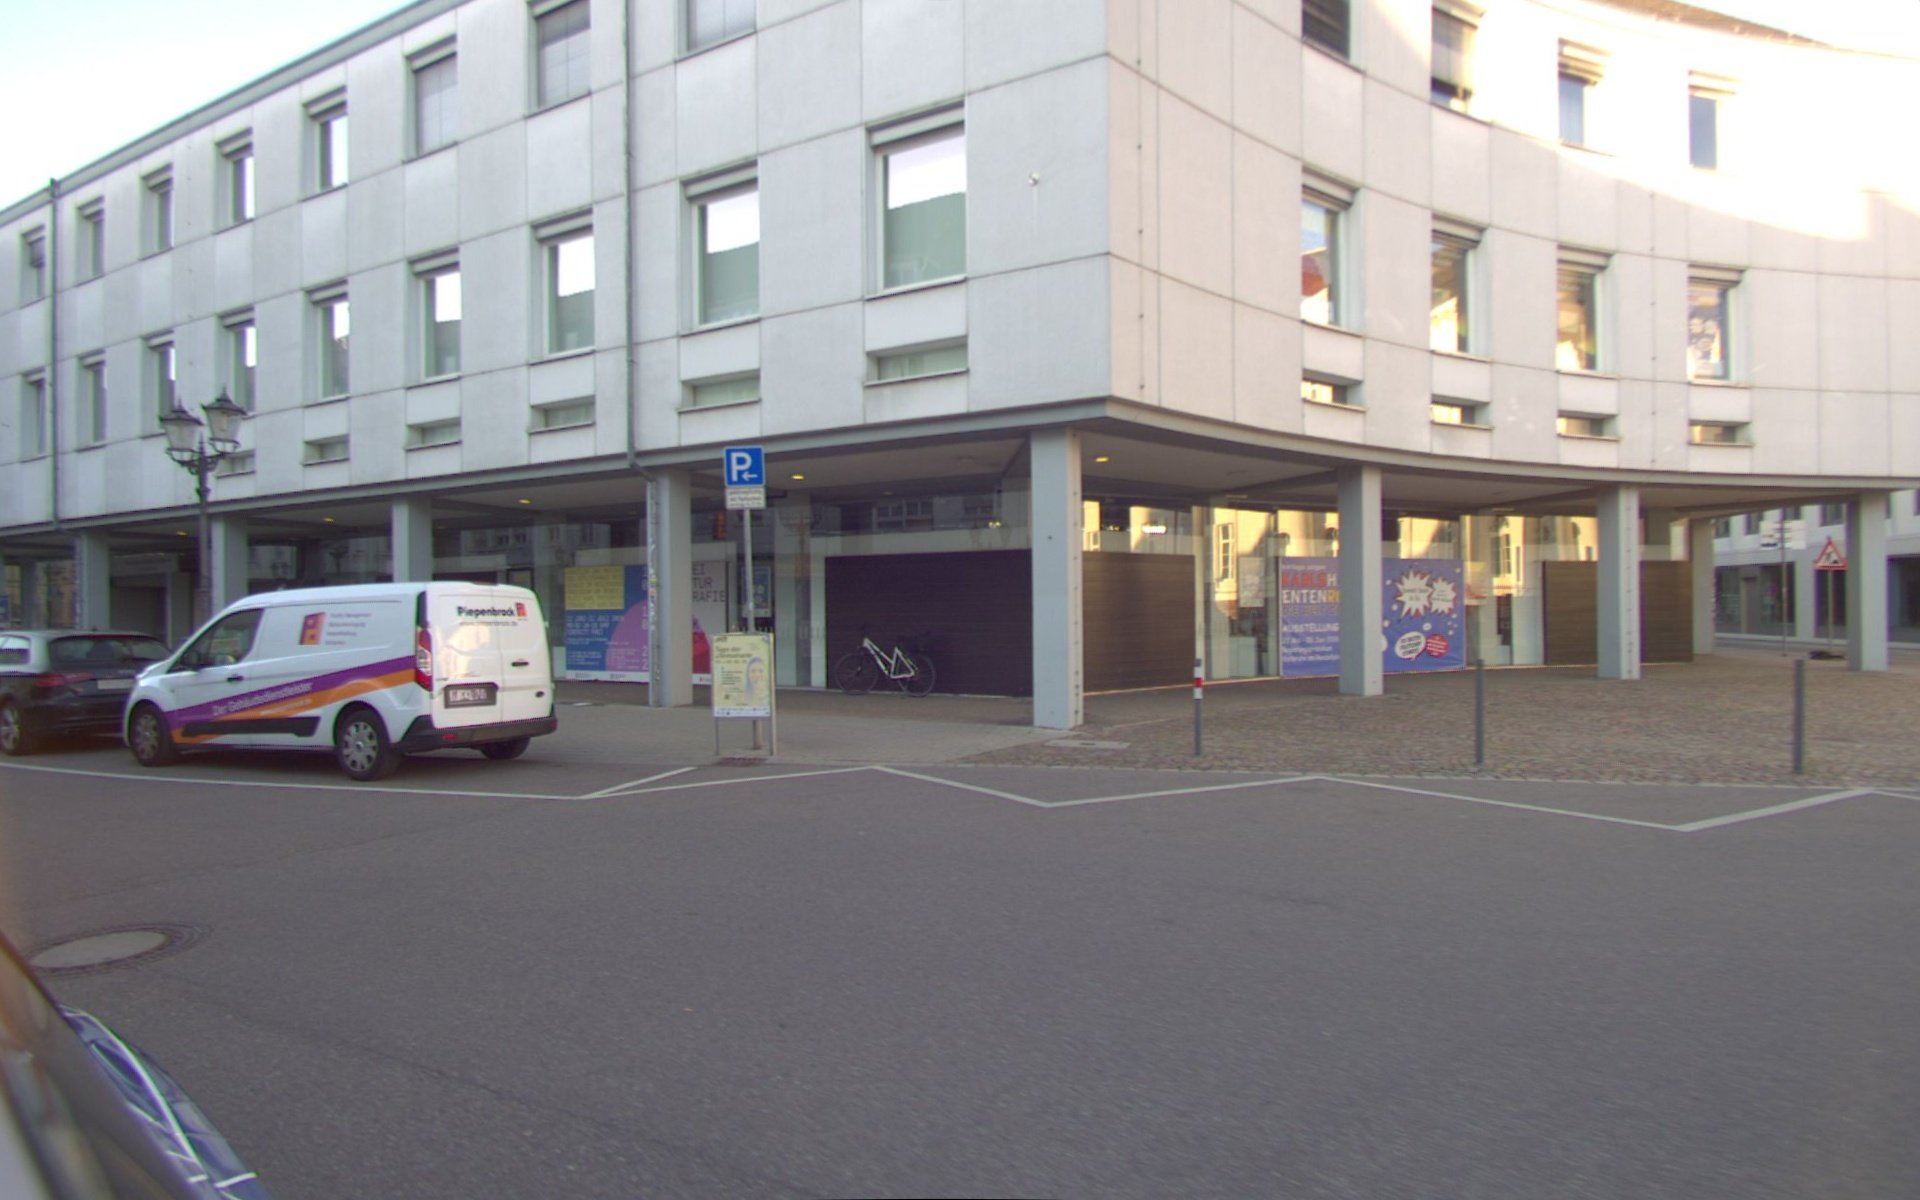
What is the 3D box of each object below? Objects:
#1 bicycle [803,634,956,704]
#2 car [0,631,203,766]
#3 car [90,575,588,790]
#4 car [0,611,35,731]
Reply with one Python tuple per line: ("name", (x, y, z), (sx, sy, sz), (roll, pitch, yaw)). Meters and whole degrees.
("bicycle", (-1.252, 1.028, 15.599), (2.324, 0.991, 0.728), (-1, 0, 28))
("car", (-11.304, 1.101, 12.370), (4.084, 1.364, 1.668), (-1, 0, 27))
("car", (-6.421, 0.745, 10.458), (4.752, 1.829, 1.985), (-1, 0, 22))
("car", (-15.490, 1.005, 14.581), (3.982, 1.675, 1.980), (-1, -3, 29))
